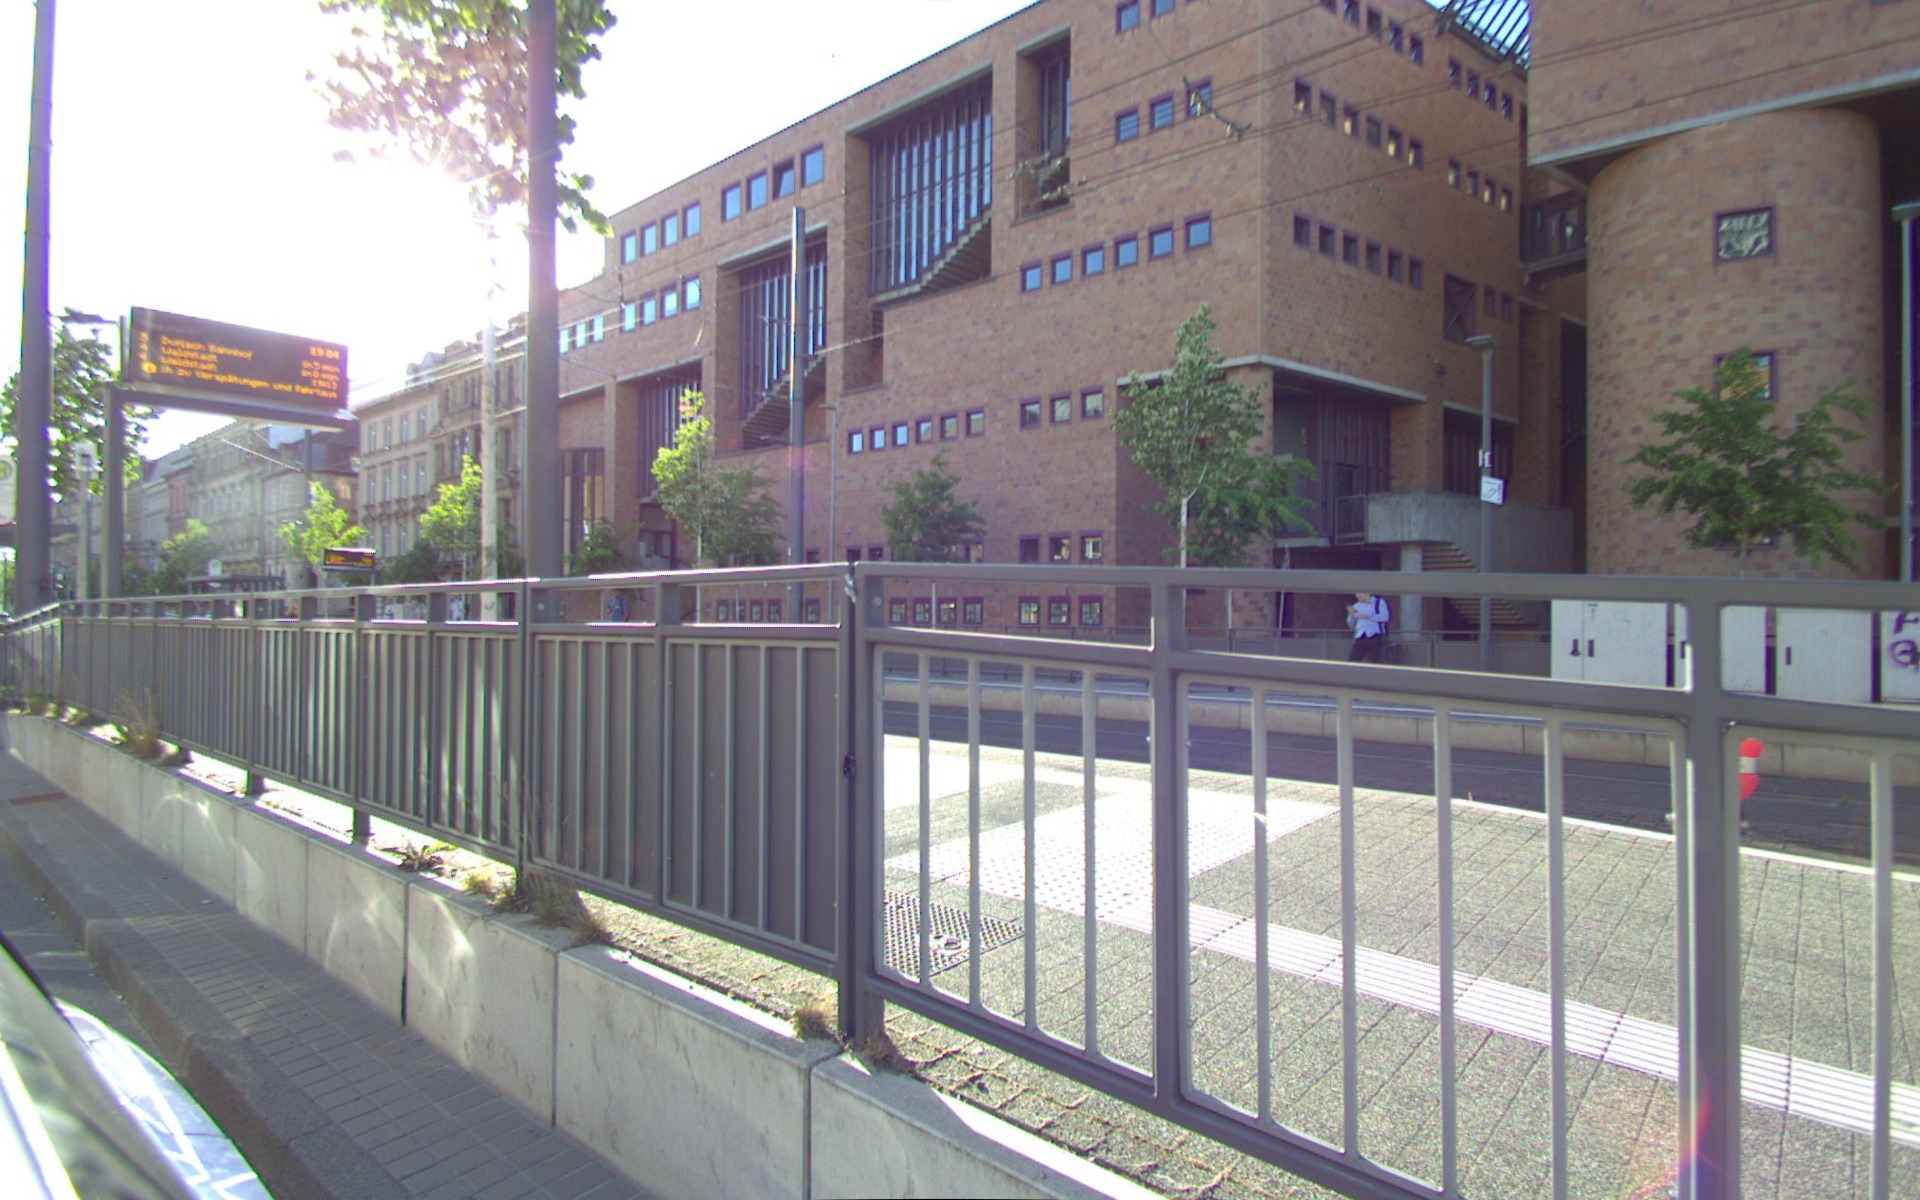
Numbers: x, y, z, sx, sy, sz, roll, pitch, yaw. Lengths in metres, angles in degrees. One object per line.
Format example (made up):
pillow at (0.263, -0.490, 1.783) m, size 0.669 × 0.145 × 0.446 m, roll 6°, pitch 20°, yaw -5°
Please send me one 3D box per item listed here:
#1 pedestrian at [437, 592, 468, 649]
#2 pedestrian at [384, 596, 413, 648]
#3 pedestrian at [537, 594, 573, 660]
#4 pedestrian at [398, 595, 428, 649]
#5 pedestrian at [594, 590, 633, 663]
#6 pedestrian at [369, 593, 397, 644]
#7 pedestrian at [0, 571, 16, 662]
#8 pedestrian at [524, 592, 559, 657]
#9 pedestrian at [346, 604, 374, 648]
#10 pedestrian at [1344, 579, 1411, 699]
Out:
pedestrian at (-15.896, 0.647, 31.705) m, size 0.586 × 1.755 × 0.684 m, roll -1°, pitch -2°, yaw 38°
pedestrian at (-19.070, 0.751, 34.368) m, size 0.586 × 1.755 × 0.684 m, roll -1°, pitch -2°, yaw 38°
pedestrian at (-11.030, 0.734, 27.562) m, size 0.586 × 1.755 × 0.684 m, roll -1°, pitch -2°, yaw 38°
pedestrian at (-18.025, 0.729, 33.353) m, size 0.586 × 1.755 × 0.684 m, roll -1°, pitch -2°, yaw 38°
pedestrian at (-8.441, 0.645, 24.637) m, size 0.586 × 1.755 × 0.684 m, roll -1°, pitch -2°, yaw 38°
pedestrian at (-20.043, 0.647, 35.155) m, size 0.586 × 1.755 × 0.684 m, roll -1°, pitch -2°, yaw 38°
pedestrian at (-21.827, 0.371, 22.770) m, size 0.880 × 2.029 × 0.773 m, roll -1°, pitch -2°, yaw 42°
pedestrian at (-11.566, 0.668, 27.967) m, size 0.586 × 1.755 × 0.684 m, roll -1°, pitch -2°, yaw 38°
pedestrian at (-21.909, 0.939, 36.951) m, size 0.586 × 1.587 × 0.684 m, roll -1°, pitch -2°, yaw 38°
pedestrian at (5.590, 0.516, 13.553) m, size 0.653 × 1.546 × 0.693 m, roll -1°, pitch -2°, yaw 38°
